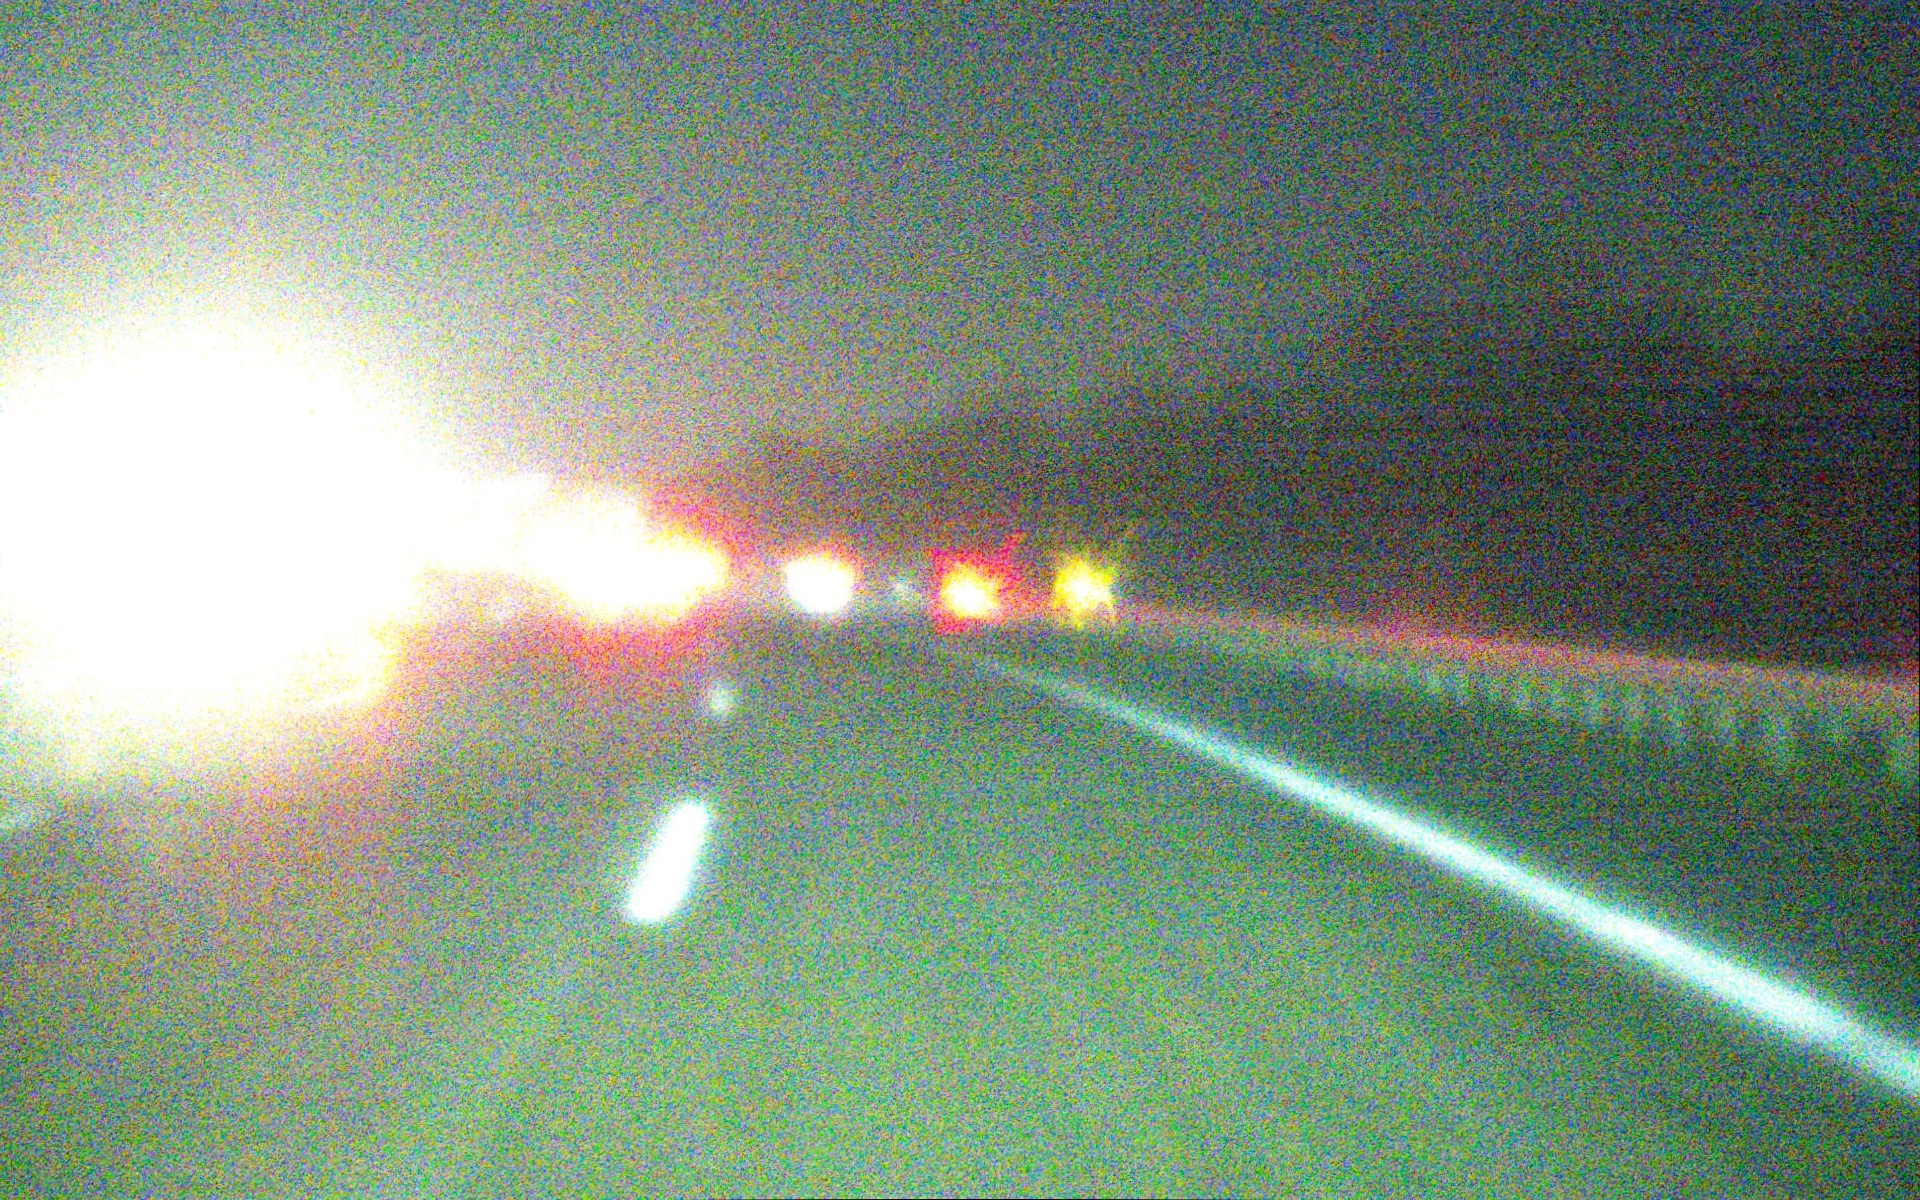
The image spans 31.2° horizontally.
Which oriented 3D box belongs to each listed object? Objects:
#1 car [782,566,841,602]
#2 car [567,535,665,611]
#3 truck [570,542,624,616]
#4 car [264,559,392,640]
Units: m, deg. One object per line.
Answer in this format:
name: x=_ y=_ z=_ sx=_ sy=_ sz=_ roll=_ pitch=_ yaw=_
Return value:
car: x=-5.644 y=-0.606 z=129.997 sx=1.580 sy=1.242 sz=3.069 roll=4 pitch=-1 yaw=-14
car: x=-7.161 y=-0.573 z=71.857 sx=1.801 sy=1.482 sz=4.001 roll=2 pitch=1 yaw=-3
truck: x=-15.537 y=-0.854 z=146.913 sx=1.993 sy=3.032 sz=6.466 roll=1 pitch=-1 yaw=-8
car: x=-10.069 y=0.008 z=54.986 sx=1.662 sy=1.232 sz=3.762 roll=1 pitch=-1 yaw=-5
